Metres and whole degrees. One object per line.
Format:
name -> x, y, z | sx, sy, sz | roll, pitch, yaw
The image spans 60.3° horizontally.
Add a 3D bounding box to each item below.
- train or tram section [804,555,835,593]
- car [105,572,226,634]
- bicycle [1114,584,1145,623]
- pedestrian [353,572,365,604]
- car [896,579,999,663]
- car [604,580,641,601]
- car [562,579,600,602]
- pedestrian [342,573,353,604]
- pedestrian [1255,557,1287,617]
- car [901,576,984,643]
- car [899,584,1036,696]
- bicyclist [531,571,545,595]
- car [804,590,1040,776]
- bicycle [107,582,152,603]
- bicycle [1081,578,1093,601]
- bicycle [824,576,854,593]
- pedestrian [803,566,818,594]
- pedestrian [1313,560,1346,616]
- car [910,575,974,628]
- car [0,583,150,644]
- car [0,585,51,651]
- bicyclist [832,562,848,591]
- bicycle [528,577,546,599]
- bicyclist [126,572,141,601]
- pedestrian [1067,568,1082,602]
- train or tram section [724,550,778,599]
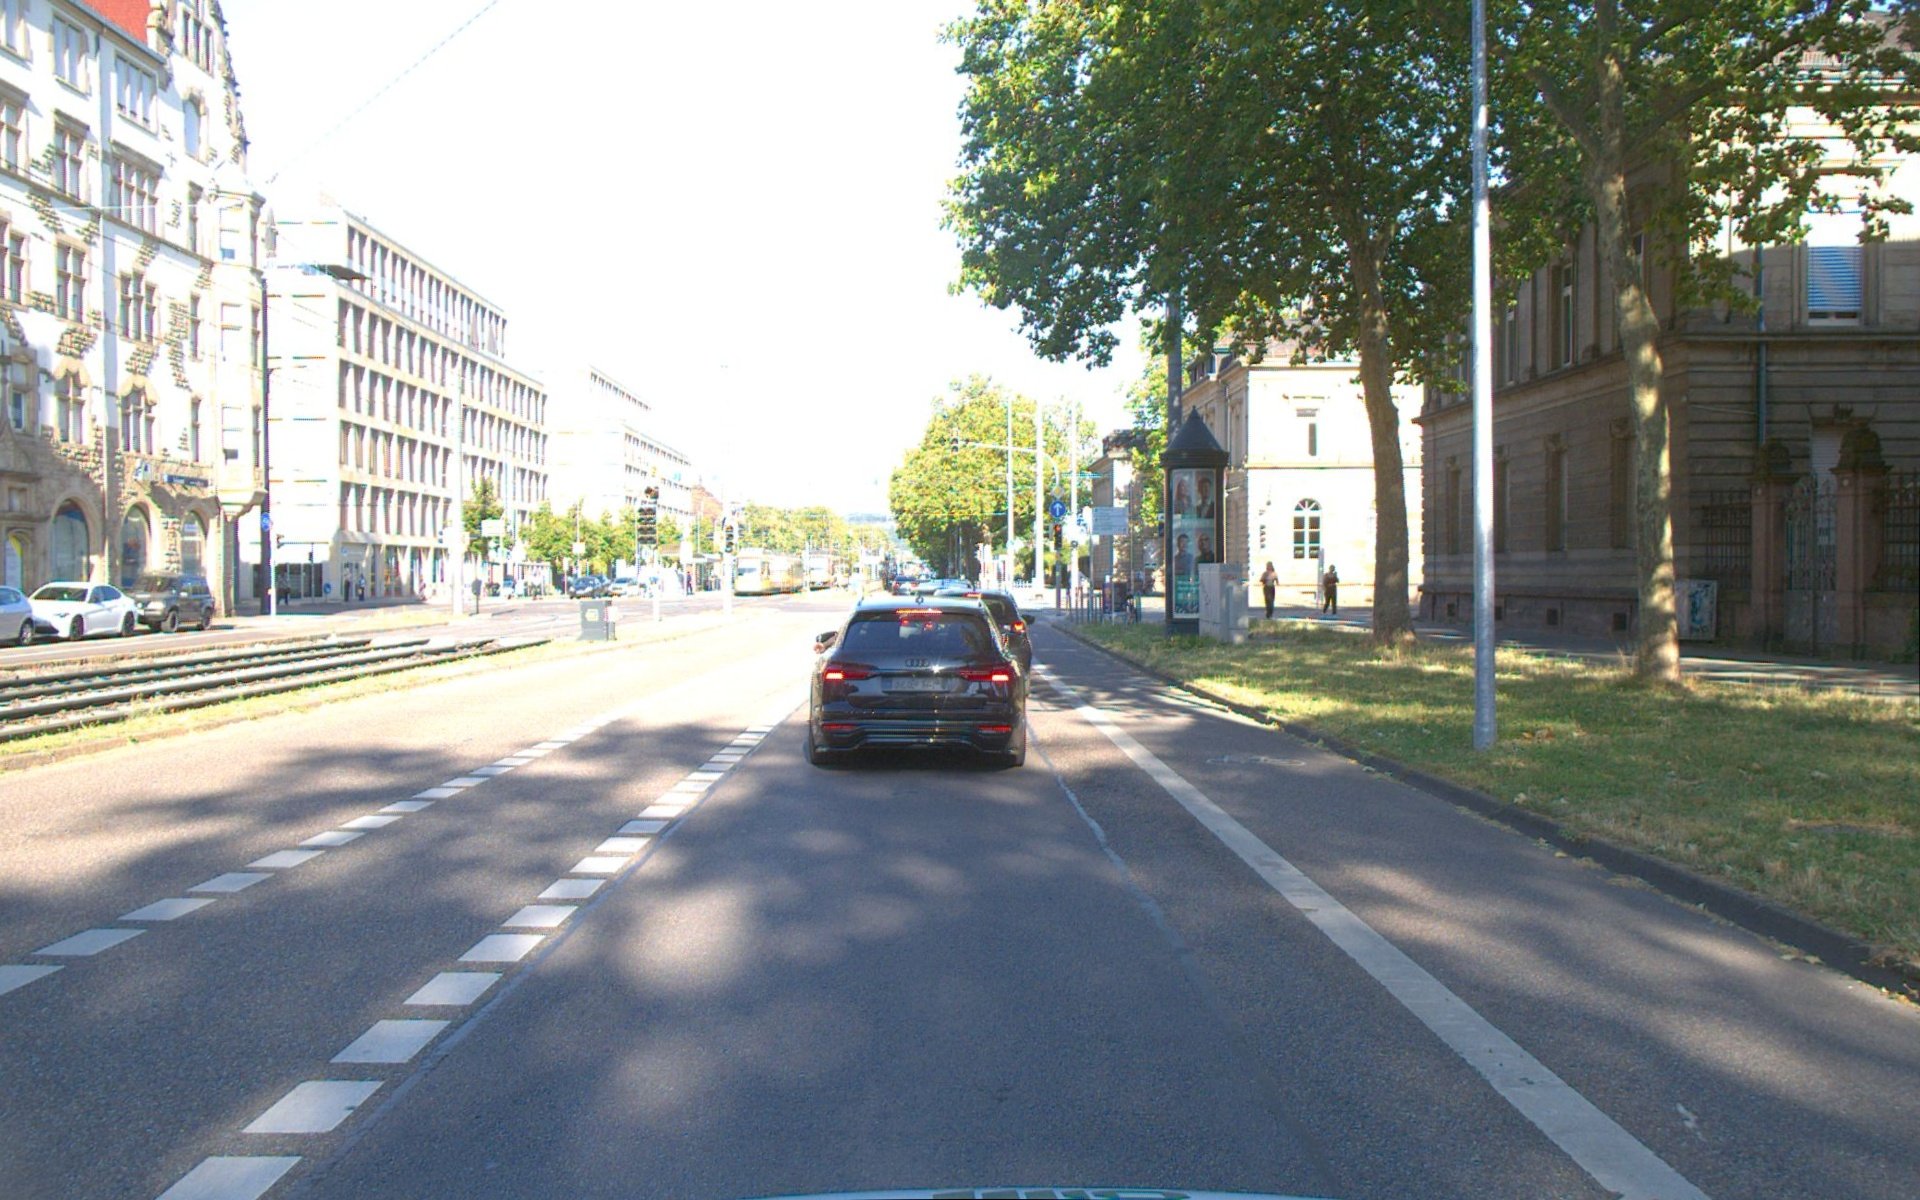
train or tram section -> -13.397, -2.459, 157.868 | 2.556, 3.511, 11.126 | -1, 1, -3
car -> -23.390, 0.056, 48.867 | 1.683, 1.704, 4.215 | 2, 1, -3
bicycle -> 4.781, 0.090, 46.680 | 0.529, 1.080, 1.770 | -1, 1, -5
pedestrian -> -36.229, -0.718, 99.748 | 0.527, 1.875, 0.437 | -1, 1, -39
car -> -0.255, 0.353, 32.084 | 1.864, 1.512, 4.144 | 1, 1, -1
car -> -24.848, -0.741, 121.843 | 1.782, 1.482, 4.541 | -1, 1, 0
car -> -25.288, -0.629, 110.524 | 1.784, 1.482, 4.163 | -1, 1, -4
pedestrian -> -36.847, -0.709, 99.491 | 0.469, 1.875, 0.437 | -1, 1, -39
pedestrian -> 9.232, -0.393, 49.153 | 0.753, 1.739, 1.042 | -1, 1, 0
car -> -0.432, 0.184, 39.710 | 1.864, 1.512, 4.144 | 1, 1, -1
car -> 0.078, 0.526, 24.747 | 1.864, 1.512, 4.144 | 1, 1, -1
bicyclist -> -28.020, -1.131, 109.867 | 0.671, 1.590, 0.785 | -1, 0, 0
car -> -0.333, 0.648, 15.243 | 1.864, 1.446, 4.144 | 1, 1, -1
bicycle -> -49.541, -0.466, 98.683 | 2.333, 1.236, 0.577 | -1, 1, -2
bicycle -> 6.372, -0.542, 83.168 | 0.426, 1.165, 1.339 | -1, 1, -3
bicycle -> -7.796, -1.001, 106.583 | 0.751, 1.127, 2.000 | 0, 1, 42
pedestrian -> -9.649, -1.281, 106.926 | 0.735, 1.772, 0.654 | -1, 1, -40
pedestrian -> 10.935, -0.364, 48.975 | 0.753, 1.634, 0.986 | -1, 1, 0
car -> -0.553, 0.028, 50.076 | 1.864, 1.512, 4.144 | 1, 1, -1
car -> -23.175, 0.312, 43.447 | 1.683, 1.448, 4.654 | 2, 1, -3
car -> -22.781, 0.412, 37.981 | 1.675, 1.455, 4.220 | 2, 1, -4
bicyclist -> -7.740, -1.532, 106.645 | 0.751, 1.850, 0.754 | 0, 1, 42
bicycle -> -28.083, -0.801, 109.886 | 0.671, 1.406, 1.947 | -1, 1, 0
bicyclist -> -49.315, -0.828, 98.686 | 0.628, 1.715, 0.577 | -1, 1, -2
pedestrian -> 5.760, -0.752, 83.124 | 0.668, 1.689, 0.758 | -1, 1, -3
train or tram section -> -16.015, -1.982, 127.441 | 2.756, 3.550, 13.201 | -1, 1, -1
